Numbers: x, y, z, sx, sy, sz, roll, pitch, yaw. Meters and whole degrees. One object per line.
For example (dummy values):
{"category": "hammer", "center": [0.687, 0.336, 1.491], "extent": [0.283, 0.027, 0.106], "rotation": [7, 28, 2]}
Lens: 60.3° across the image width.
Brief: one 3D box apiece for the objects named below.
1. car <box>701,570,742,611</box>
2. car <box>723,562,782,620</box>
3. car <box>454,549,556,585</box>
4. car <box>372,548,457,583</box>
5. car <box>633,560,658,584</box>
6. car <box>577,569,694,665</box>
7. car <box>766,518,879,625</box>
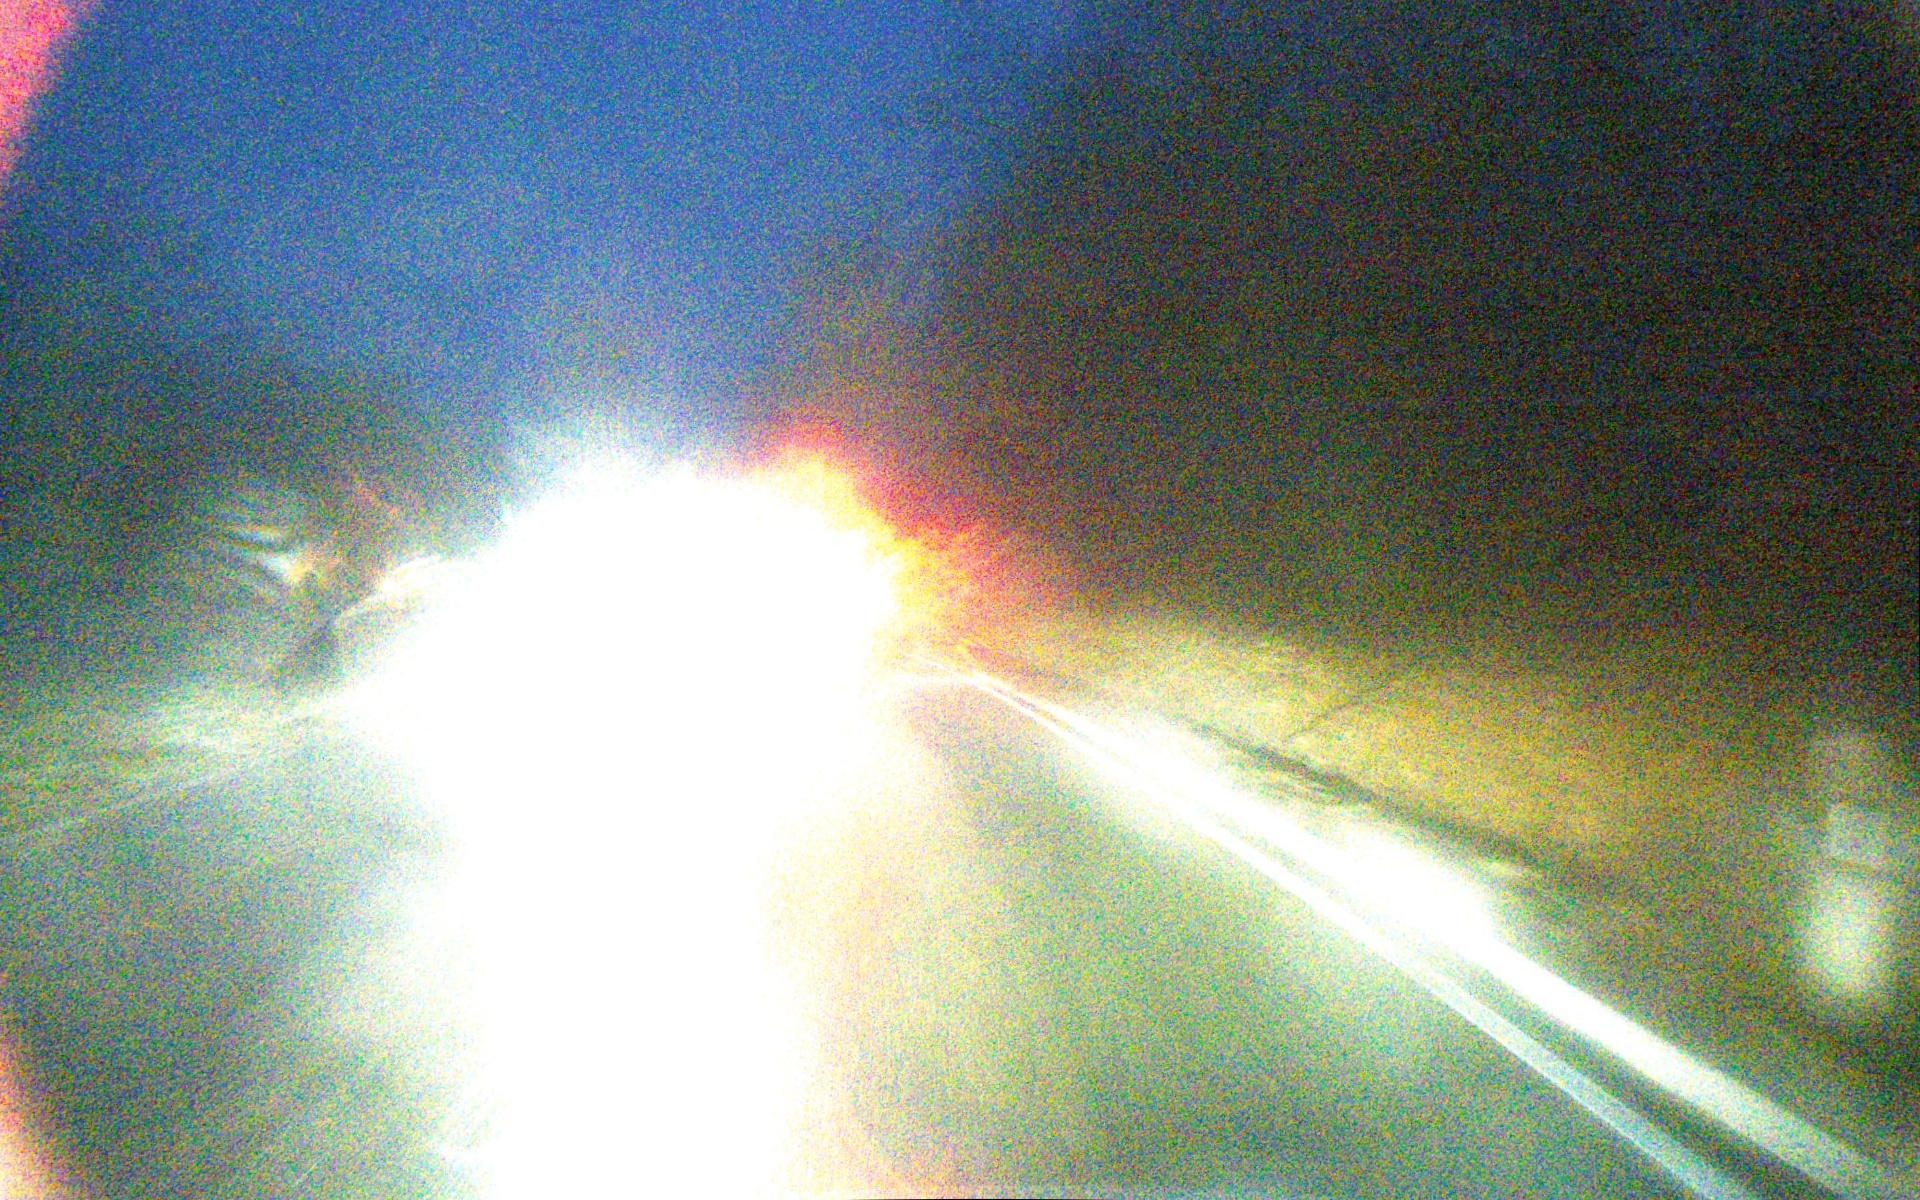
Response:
{"category": "car", "center": [-11.581, -0.455, 80.167], "extent": [1.709, 1.744, 3.689], "rotation": [3, -3, -11]}
{"category": "car", "center": [-8.224, -0.329, 65.343], "extent": [1.958, 2.049, 3.988], "rotation": [3, -3, -11]}
{"category": "car", "center": [-22.603, -1.629, 82.262], "extent": [4.830, 1.765, 1.992], "rotation": [0, 1, -15]}
{"category": "car", "center": [-28.054, -1.782, 85.187], "extent": [4.086, 1.717, 1.685], "rotation": [-1, 0, -18]}
{"category": "car", "center": [-25.345, -2.253, 133.339], "extent": [1.723, 1.764, 3.987], "rotation": [3, 1, -13]}
{"category": "car", "center": [-5.550, 0.267, 28.673], "extent": [1.604, 1.536, 4.090], "rotation": [-1, 0, -6]}
{"category": "car", "center": [-3.583, -0.714, 42.087], "extent": [2.491, 2.541, 5.703], "rotation": [0, 1, -9]}
